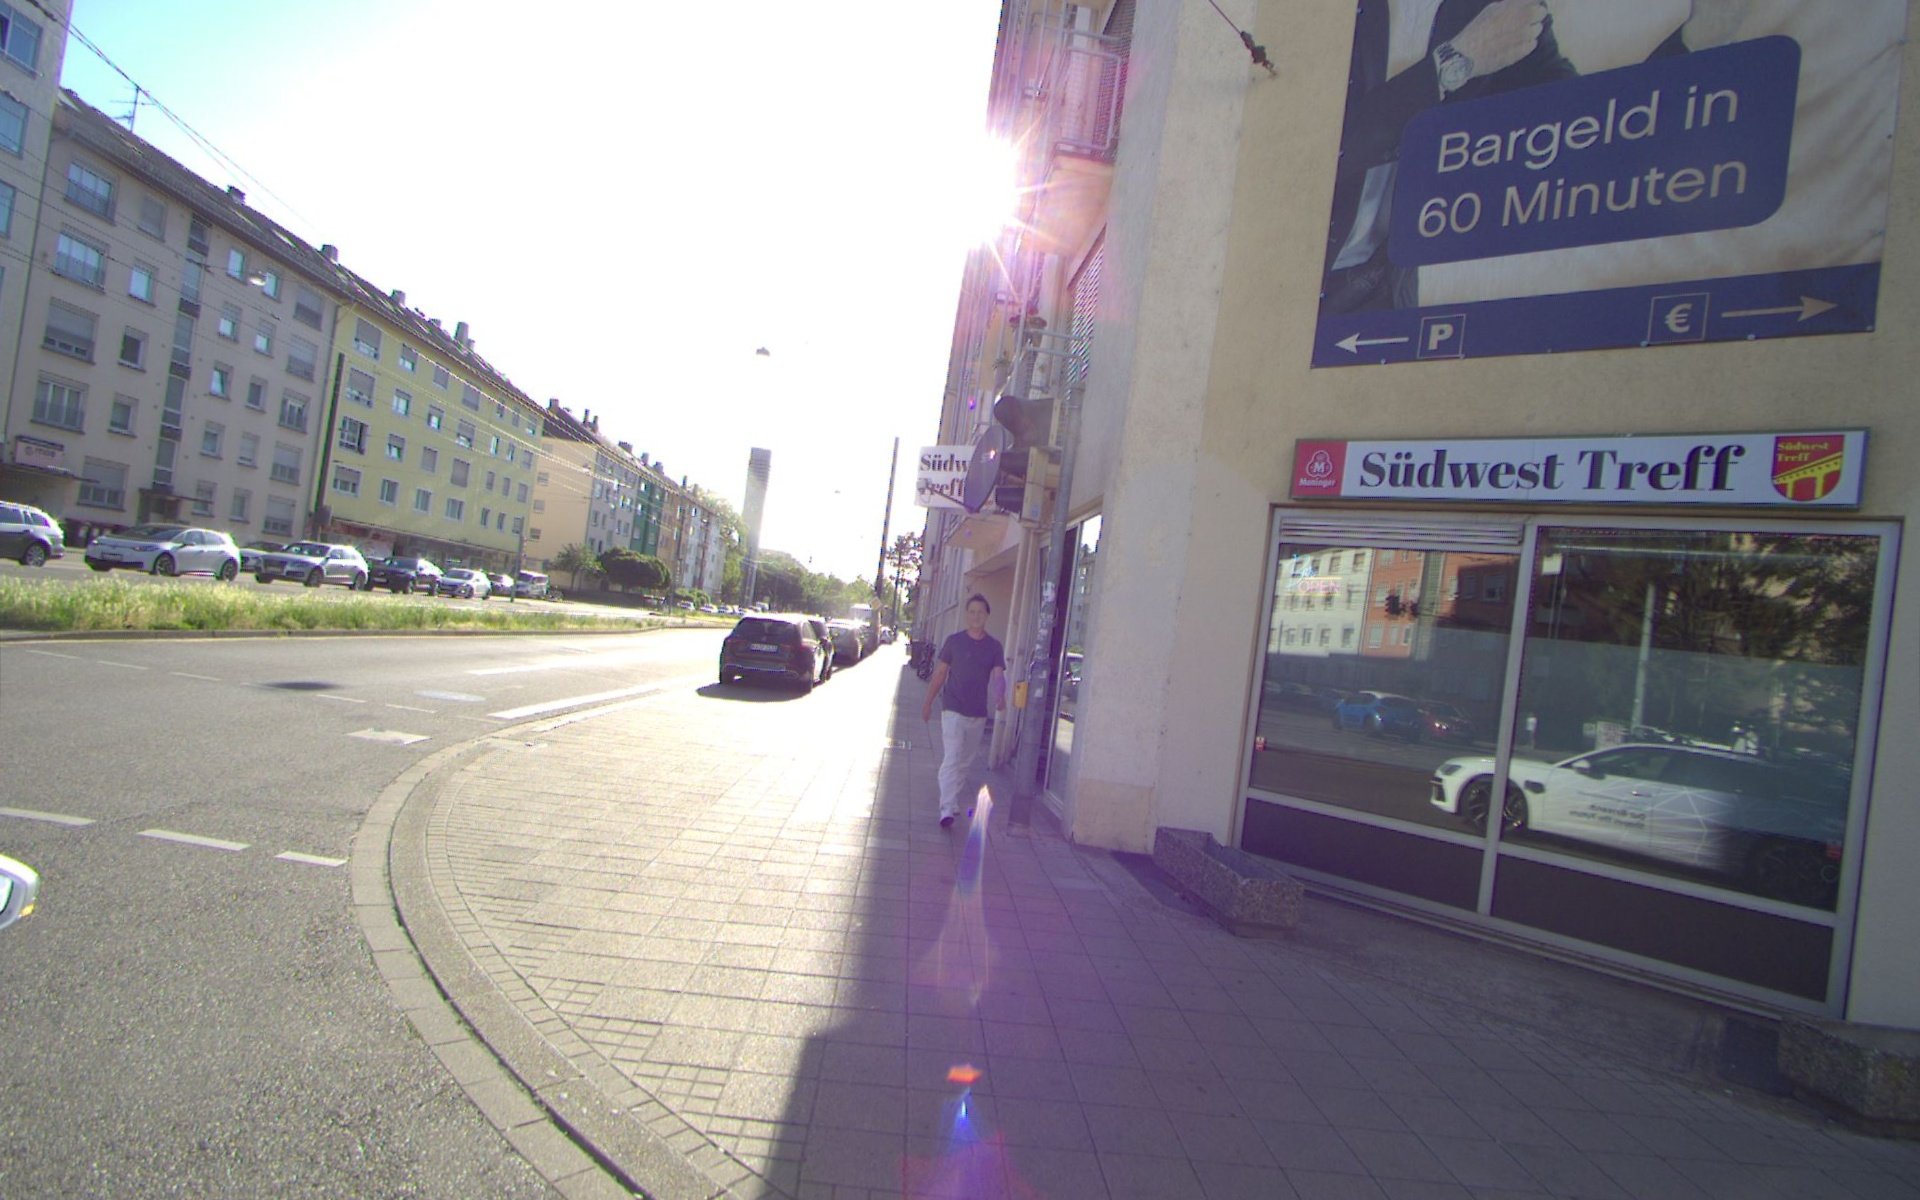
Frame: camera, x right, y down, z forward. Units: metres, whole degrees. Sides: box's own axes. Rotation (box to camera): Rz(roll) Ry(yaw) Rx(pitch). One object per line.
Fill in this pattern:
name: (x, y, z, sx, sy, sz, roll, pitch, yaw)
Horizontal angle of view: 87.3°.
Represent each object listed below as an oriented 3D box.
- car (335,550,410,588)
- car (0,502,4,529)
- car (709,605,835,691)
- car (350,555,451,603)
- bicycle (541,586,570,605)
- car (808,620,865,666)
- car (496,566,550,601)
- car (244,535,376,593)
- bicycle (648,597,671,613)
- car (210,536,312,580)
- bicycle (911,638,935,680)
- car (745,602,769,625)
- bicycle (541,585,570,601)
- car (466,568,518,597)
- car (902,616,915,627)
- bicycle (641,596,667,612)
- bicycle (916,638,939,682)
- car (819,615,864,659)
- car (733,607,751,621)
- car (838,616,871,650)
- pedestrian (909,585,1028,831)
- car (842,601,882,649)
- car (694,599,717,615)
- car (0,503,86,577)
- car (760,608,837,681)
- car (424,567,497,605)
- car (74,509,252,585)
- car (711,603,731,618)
car: (-32.081, -1.668, 55.064, 1.804, 1.599, 3.802, 7, -2, -2)
car: (-26.142, -2.010, 24.305, 1.954, 1.593, 4.325, 7, -3, -4)
car: (-3.721, 0.964, 20.754, 1.855, 1.414, 4.743, 6, -2, -3)
car: (-23.927, -0.850, 43.241, 1.934, 1.496, 4.570, 7, -3, -4)
bicycle: (-32.982, -0.370, 82.077, 1.950, 1.219, 0.692, 10, -4, -30)
car: (-4.613, 1.592, 38.007, 1.746, 1.488, 4.094, 5, -2, -4)
car: (-33.672, -1.225, 77.741, 1.974, 2.129, 5.306, 7, -2, -4)
car: (-23.213, -1.213, 36.147, 1.837, 1.595, 4.630, 6, -2, -4)
bicycle: (-31.245, 0.530, 104.615, 2.098, 1.338, 0.896, 8, -3, -9)
car: (-31.896, -1.895, 46.057, 1.750, 1.451, 4.058, 7, -3, -2)
bicycle: (-1.156, 1.831, 31.648, 0.620, 1.207, 1.882, 5, -1, -2)
car: (-34.529, 2.338, 171.557, 2.942, 3.271, 6.799, 7, -4, -5)
bicycle: (-33.644, -0.585, 83.730, 2.050, 1.033, 0.802, 9, -4, -16)
car: (-33.111, -1.225, 71.293, 1.738, 1.503, 3.923, 7, -4, 0)
car: (-11.024, 4.630, 215.247, 1.967, 1.801, 3.999, 8, -4, -10)
bicycle: (-31.218, 0.387, 102.793, 2.276, 1.318, 0.913, 8, -3, -6)
bicycle: (-0.959, 1.756, 29.730, 0.506, 1.207, 1.557, 7, -1, -2)
car: (-5.020, 1.557, 43.054, 1.637, 1.663, 4.183, 5, -2, -5)
car: (-32.720, 2.108, 151.172, 1.965, 1.570, 4.003, 8, -4, -5)
car: (-5.839, 1.831, 55.984, 1.566, 1.654, 3.918, 5, -2, -4)
pedestrian: (0.039, 0.819, 7.994, 0.675, 1.763, 1.041, 6, -1, -5)
car: (-6.071, 1.571, 63.028, 2.126, 2.683, 5.643, 5, -2, -4)
car: (-31.888, 0.882, 126.109, 1.965, 1.597, 4.003, 8, -4, -5)
car: (-22.676, -1.563, 22.717, 1.791, 1.507, 4.545, 7, -3, -1)
car: (-3.970, 1.105, 25.152, 1.529, 1.543, 2.989, 7, -3, -5)
car: (-24.749, -0.658, 50.048, 1.797, 1.462, 4.284, 8, -3, -7)
car: (-22.790, -1.446, 29.015, 1.812, 1.532, 4.245, 7, -3, -5)
car: (-32.378, 1.411, 136.412, 1.965, 1.570, 4.003, 8, -4, -5)
